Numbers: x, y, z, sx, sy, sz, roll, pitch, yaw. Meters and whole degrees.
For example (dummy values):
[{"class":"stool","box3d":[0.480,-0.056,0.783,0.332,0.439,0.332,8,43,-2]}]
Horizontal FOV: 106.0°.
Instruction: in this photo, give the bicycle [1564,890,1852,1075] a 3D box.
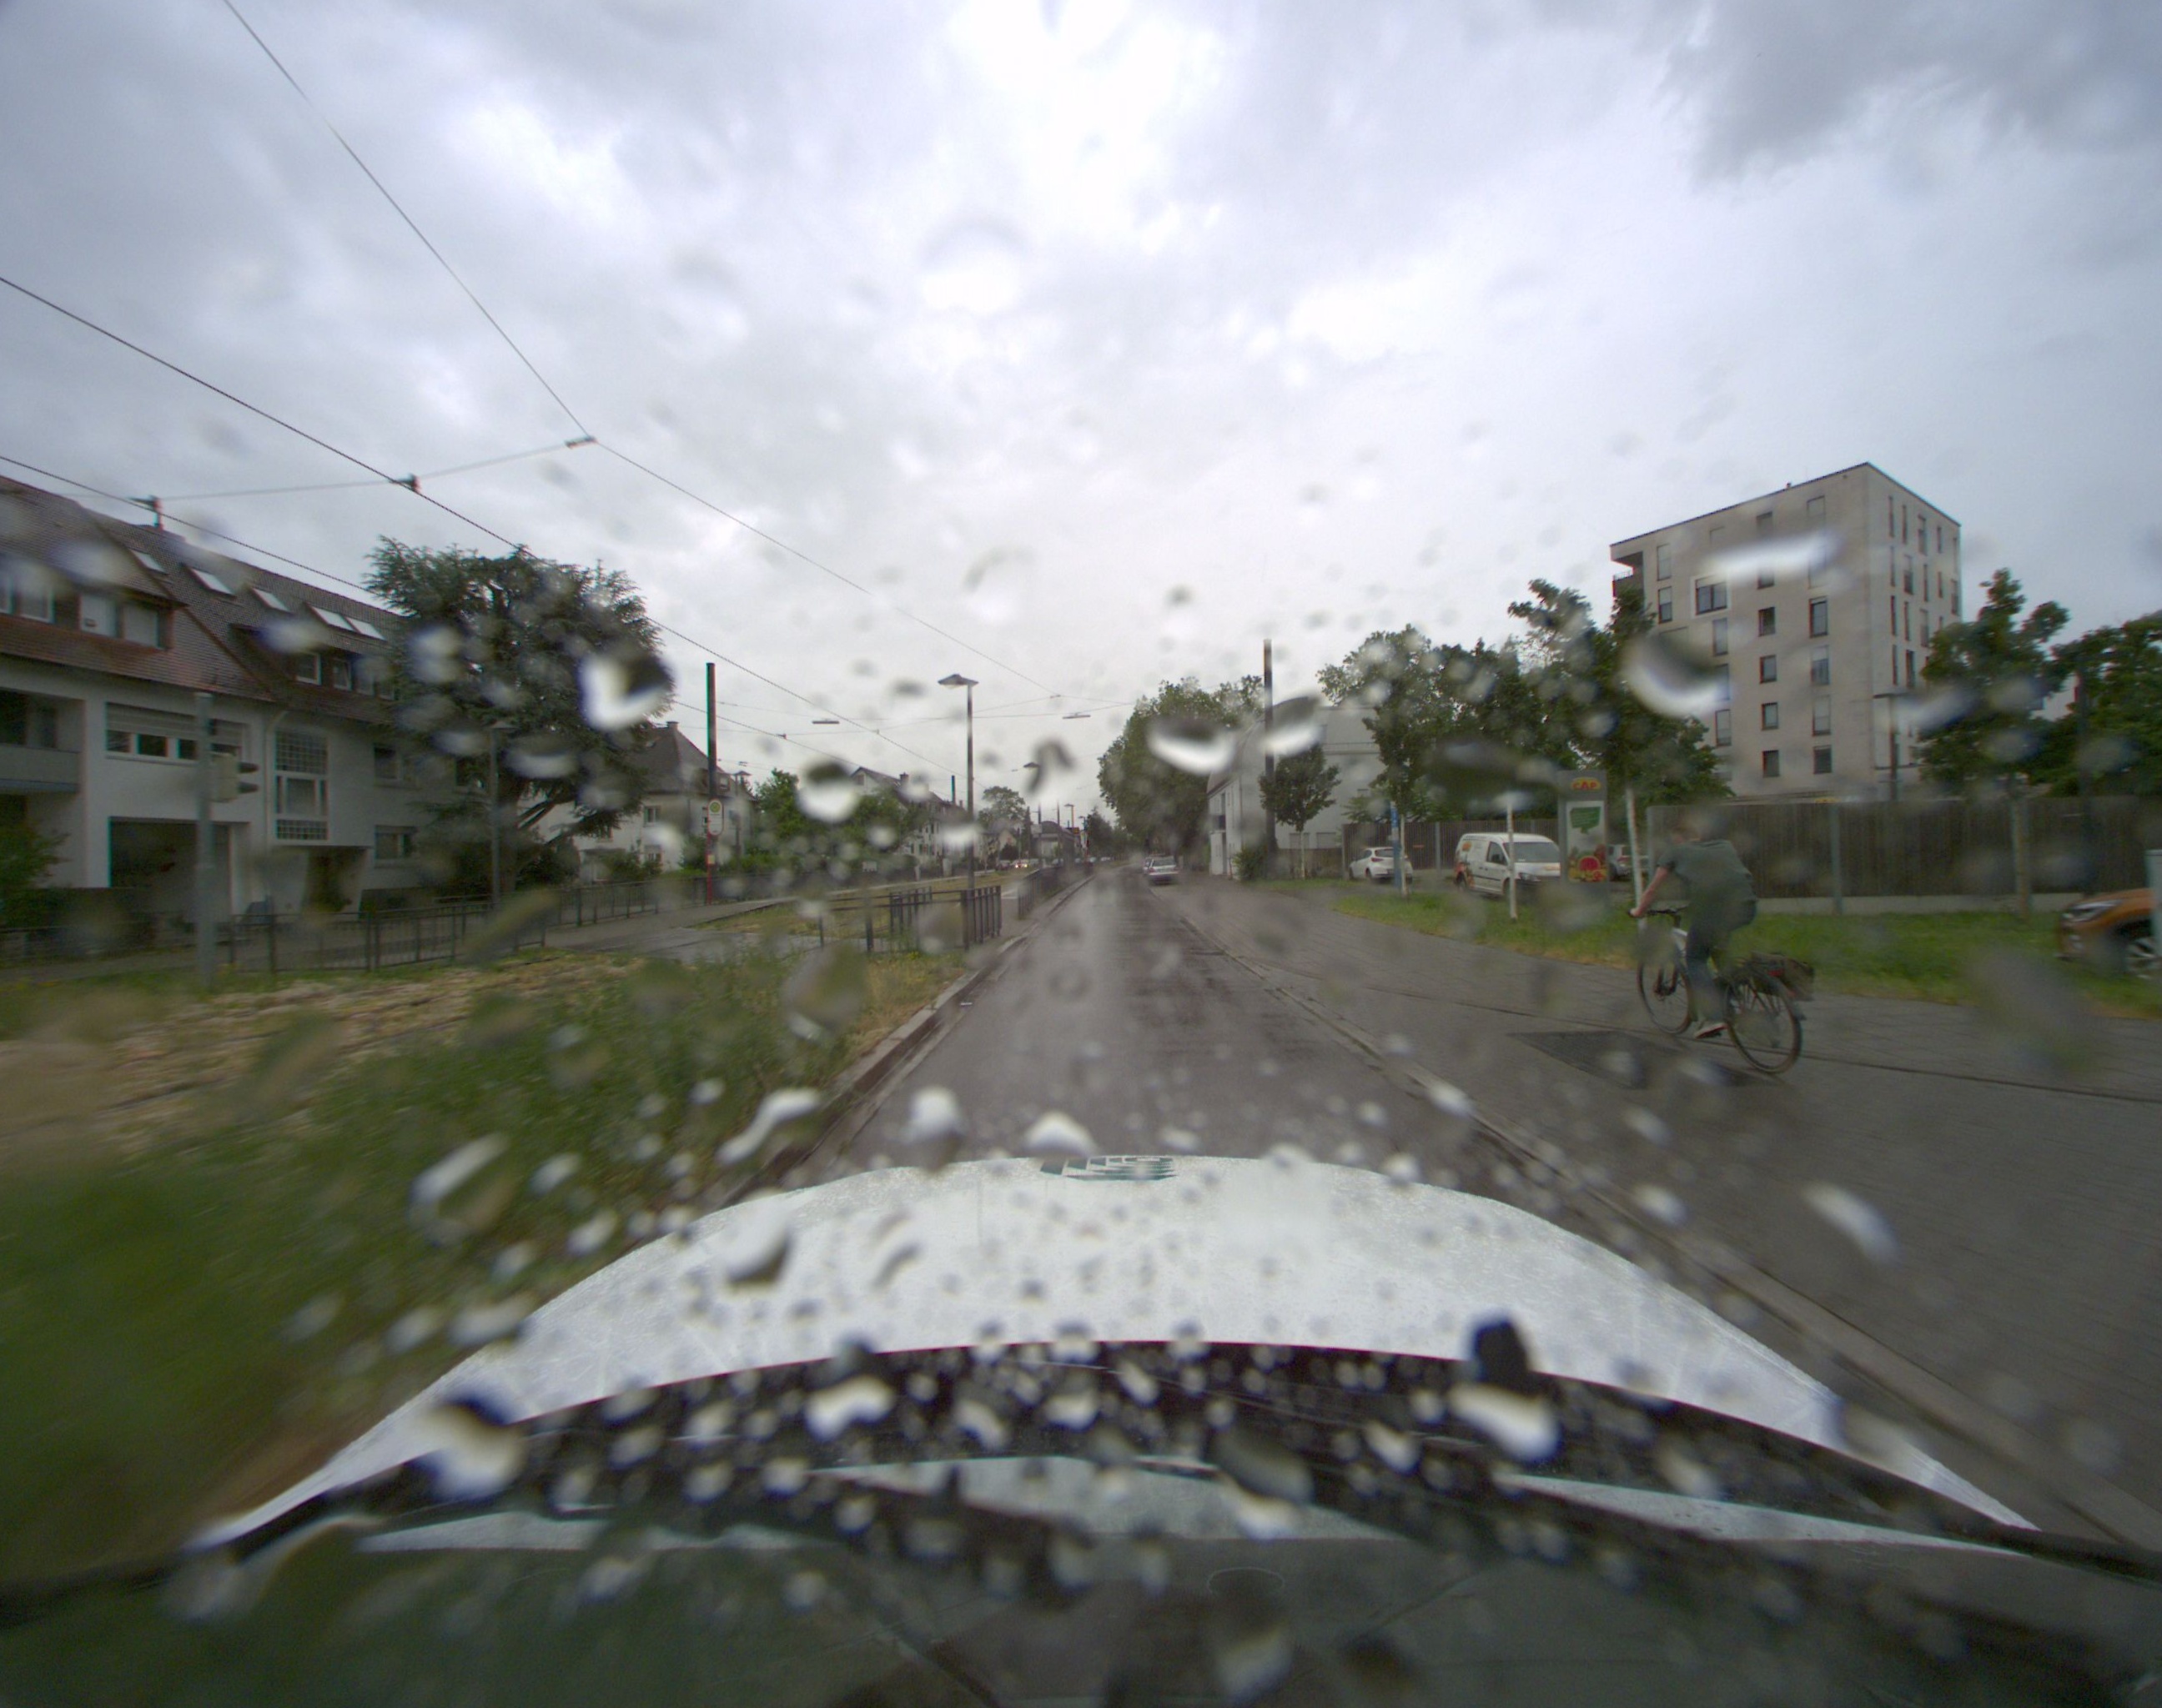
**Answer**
[{"class":"bicycle","box3d":[4.521,0.850,6.095,0.535,1.093,1.945,0,-1,-4]}]

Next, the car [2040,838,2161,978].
[{"class":"car","box3d":[12.520,0.537,7.790,2.004,1.441,3.965,0,-1,-26]}]

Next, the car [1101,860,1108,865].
[{"class":"car","box3d":[7.660,2.800,261.716,1.918,1.486,4.007,-1,-1,6]}]

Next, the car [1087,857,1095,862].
[{"class":"car","box3d":[2.954,1.641,232.138,1.918,1.486,4.007,-1,-1,6]}]

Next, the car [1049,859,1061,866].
[{"class":"car","box3d":[-5.260,1.746,163.609,1.918,1.486,4.007,-1,-1,6]}]

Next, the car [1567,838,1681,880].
[{"class":"car","box3d":[21.779,0.170,32.922,1.954,1.535,4.369,-1,0,4]}]

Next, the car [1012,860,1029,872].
[{"class":"car","box3d":[-8.143,1.597,109.795,1.626,1.493,4.004,-1,-1,4]}]

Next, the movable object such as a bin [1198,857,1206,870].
[{"class":"movable object such as a bin","box3d":[10.275,0.815,69.070,0.534,1.022,0.739,-4,-1,2]}]

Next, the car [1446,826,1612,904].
[{"class":"car","box3d":[11.524,0.236,21.400,1.954,1.784,4.903,-1,0,4]}]

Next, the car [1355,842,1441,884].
[{"class":"car","box3d":[12.211,0.305,31.693,1.954,1.535,4.369,-1,0,4]}]

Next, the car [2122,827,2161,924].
[{"class":"car","box3d":[19.351,0.340,12.298,1.977,1.586,4.319,-1,1,-32]}]

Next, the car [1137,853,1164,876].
[{"class":"car","box3d":[5.114,0.789,60.240,1.799,1.467,3.797,-5,-1,3]}]

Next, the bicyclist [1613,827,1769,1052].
[{"class":"bicyclist","box3d":[4.519,0.600,6.081,0.533,1.559,0.771,0,-1,-6]}]

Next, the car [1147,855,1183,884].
[{"class":"car","box3d":[4.523,0.847,44.498,1.643,1.405,4.653,-5,-1,3]}]

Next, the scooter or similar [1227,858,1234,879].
[{"class":"scooter or similar","box3d":[7.929,0.764,43.219,0.331,1.085,1.399,-1,-1,8]}]

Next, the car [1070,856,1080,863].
[{"class":"car","box3d":[-1.412,1.317,198.490,1.918,1.486,4.007,-1,-1,6]}]

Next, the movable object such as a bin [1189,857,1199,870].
[{"class":"movable object such as a bin","box3d":[9.703,0.827,69.778,0.690,1.022,0.825,-4,-1,2]}]

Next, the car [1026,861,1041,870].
[{"class":"car","box3d":[-7.828,1.904,134.289,1.918,1.486,4.007,-1,-1,6]}]

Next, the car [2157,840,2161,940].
[{"class":"car","box3d":[17.378,0.486,10.479,2.004,1.441,3.965,0,-1,-26]}]

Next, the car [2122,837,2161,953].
[{"class":"car","box3d":[15.092,0.482,9.086,2.004,1.441,3.965,0,-1,-26]}]
